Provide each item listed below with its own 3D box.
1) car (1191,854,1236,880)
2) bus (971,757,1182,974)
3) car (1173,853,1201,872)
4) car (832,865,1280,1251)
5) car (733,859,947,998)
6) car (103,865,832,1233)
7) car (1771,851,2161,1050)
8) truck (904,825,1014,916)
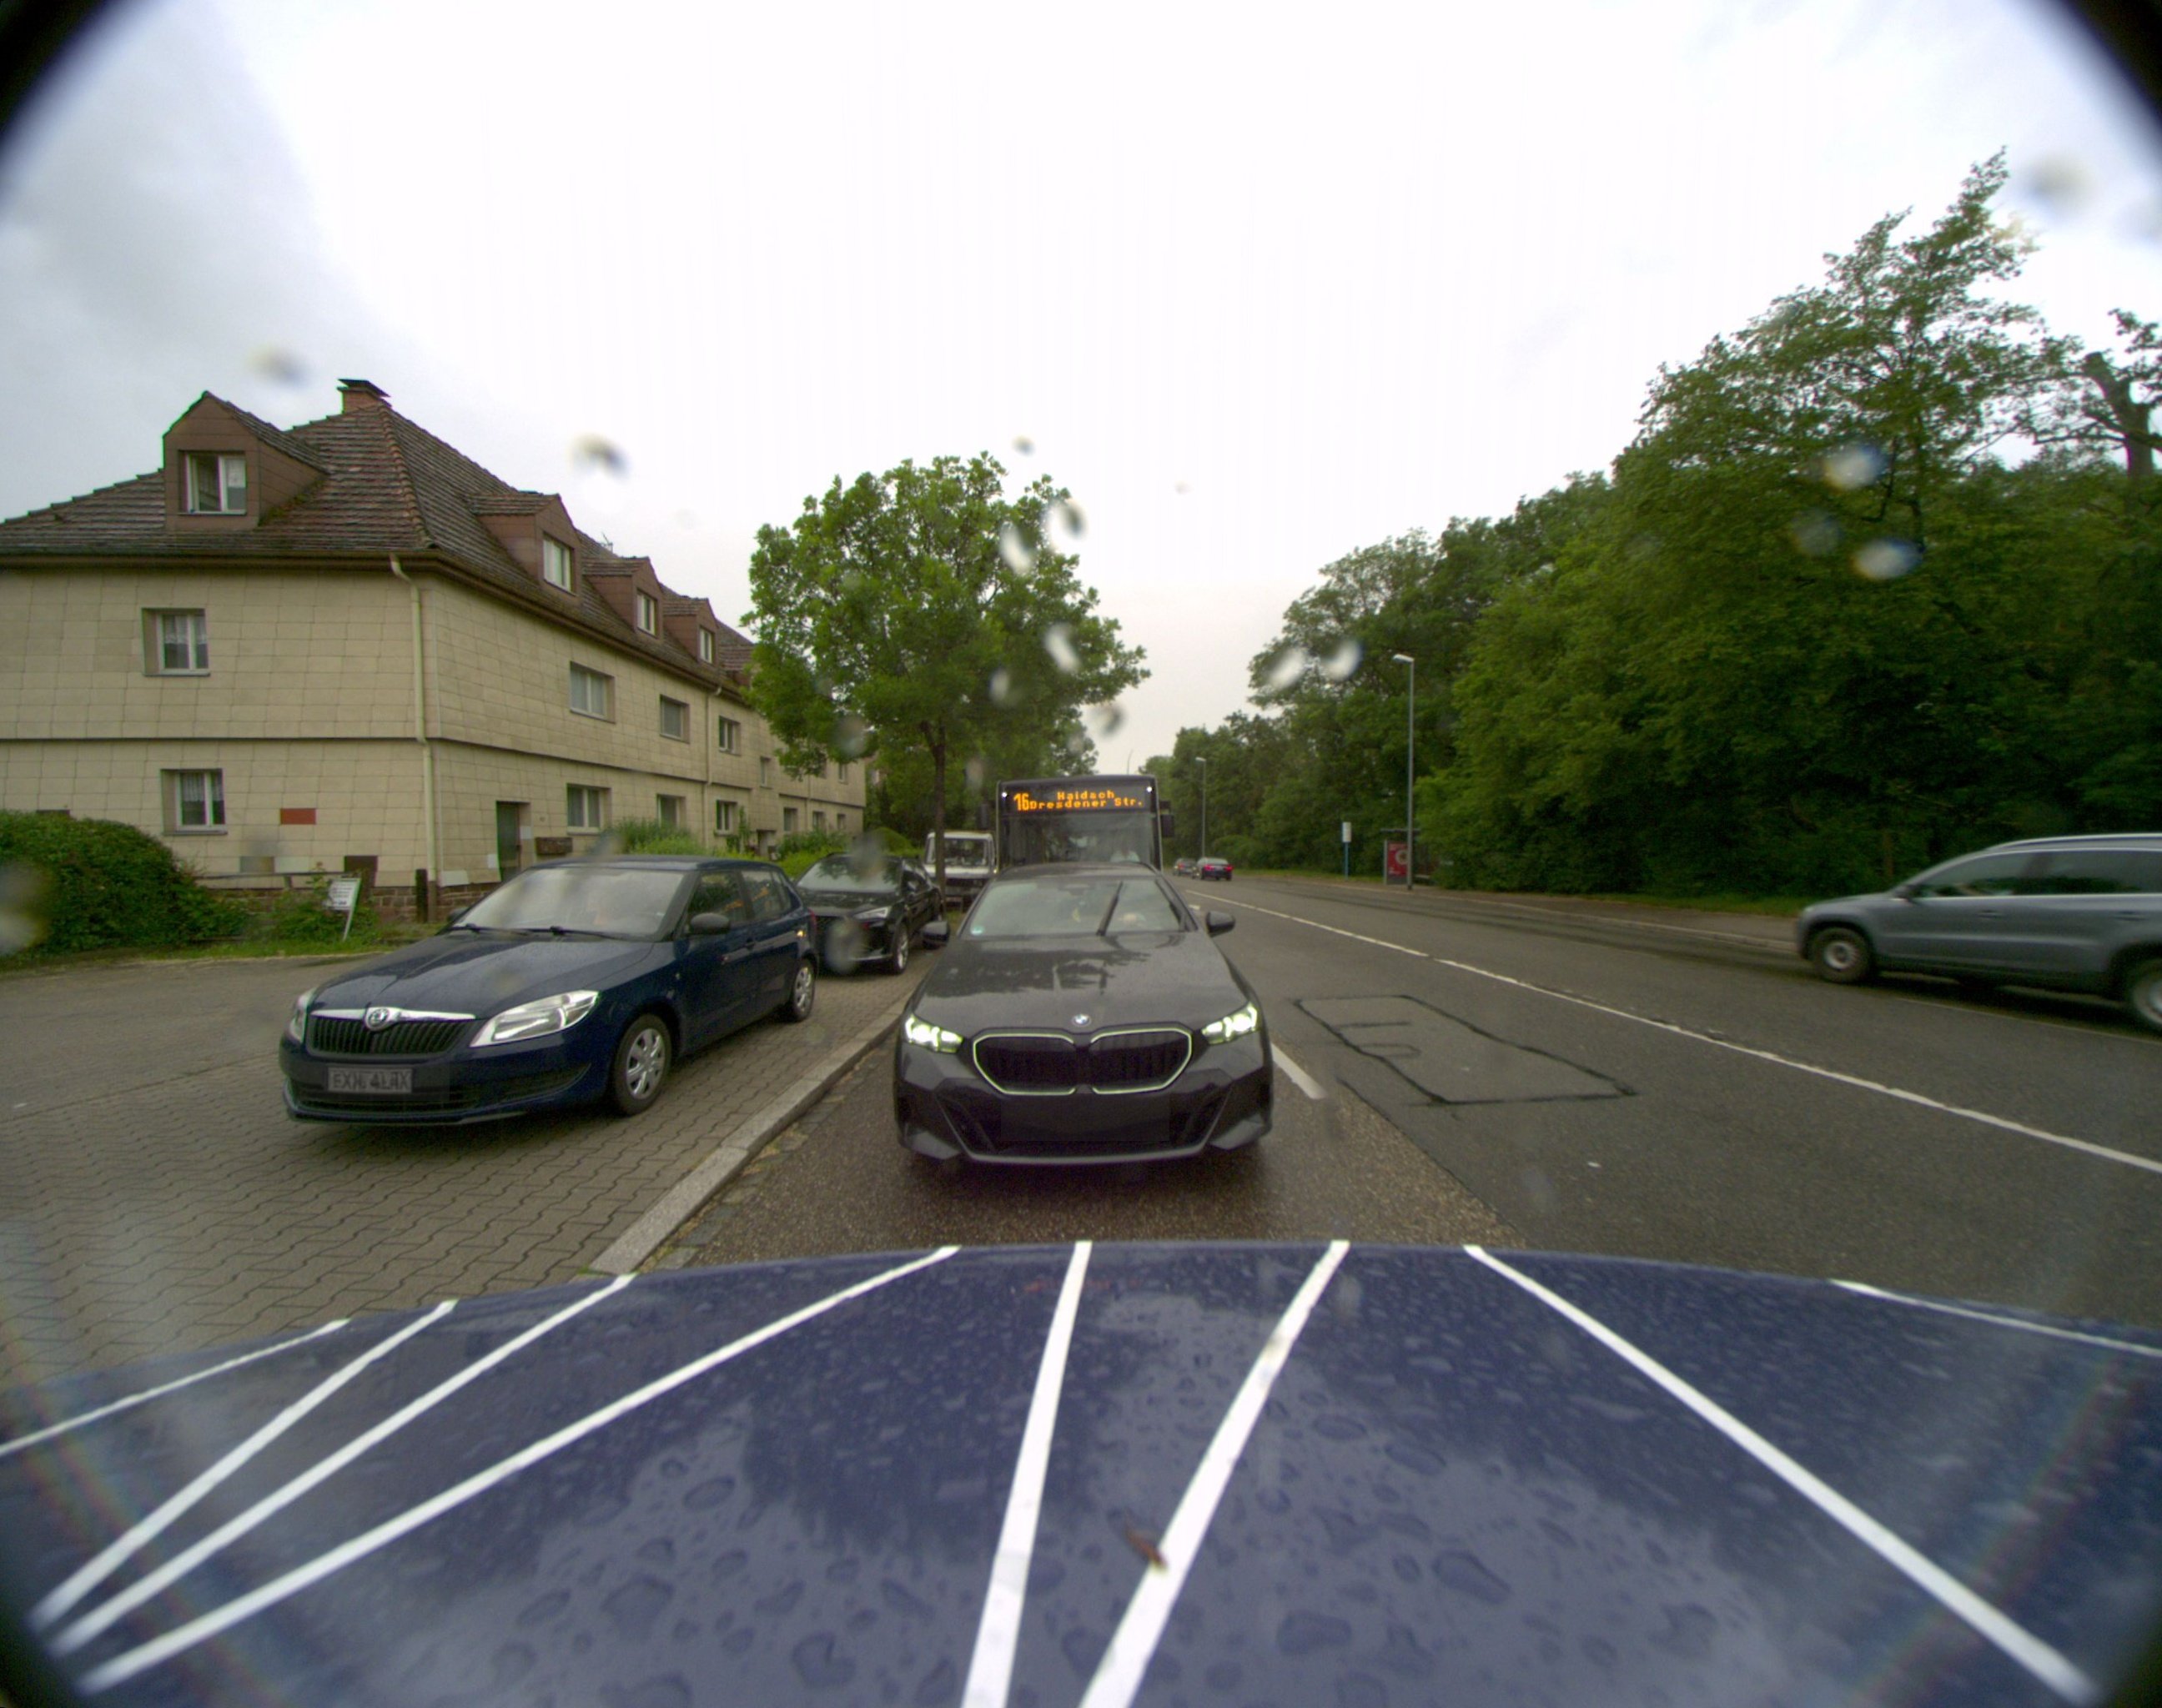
[{"bbox_3d":[8.492,0.826,49.220,1.915,1.445,4.947,3,1,-1],"label":"car"},{"bbox_3d":[0.069,0.105,15.045,2.767,2.858,9.403,-2,1,2],"label":"bus"},{"bbox_3d":[8.556,0.670,61.500,1.598,1.420,3.905,1,0,-1],"label":"car"},{"bbox_3d":[-0.081,0.928,5.476,1.882,1.520,4.316,-3,0,1],"label":"car"},{"bbox_3d":[-3.071,0.850,10.552,1.720,1.455,3.999,1,1,-1],"label":"car"},{"bbox_3d":[-3.264,0.858,5.218,1.720,1.416,3.999,1,1,1],"label":"car"},{"bbox_3d":[9.542,0.773,7.234,1.913,1.581,4.316,0,0,-2],"label":"car"},{"bbox_3d":[-3.184,0.395,21.125,1.998,2.184,5.756,0,0,2],"label":"truck"}]
